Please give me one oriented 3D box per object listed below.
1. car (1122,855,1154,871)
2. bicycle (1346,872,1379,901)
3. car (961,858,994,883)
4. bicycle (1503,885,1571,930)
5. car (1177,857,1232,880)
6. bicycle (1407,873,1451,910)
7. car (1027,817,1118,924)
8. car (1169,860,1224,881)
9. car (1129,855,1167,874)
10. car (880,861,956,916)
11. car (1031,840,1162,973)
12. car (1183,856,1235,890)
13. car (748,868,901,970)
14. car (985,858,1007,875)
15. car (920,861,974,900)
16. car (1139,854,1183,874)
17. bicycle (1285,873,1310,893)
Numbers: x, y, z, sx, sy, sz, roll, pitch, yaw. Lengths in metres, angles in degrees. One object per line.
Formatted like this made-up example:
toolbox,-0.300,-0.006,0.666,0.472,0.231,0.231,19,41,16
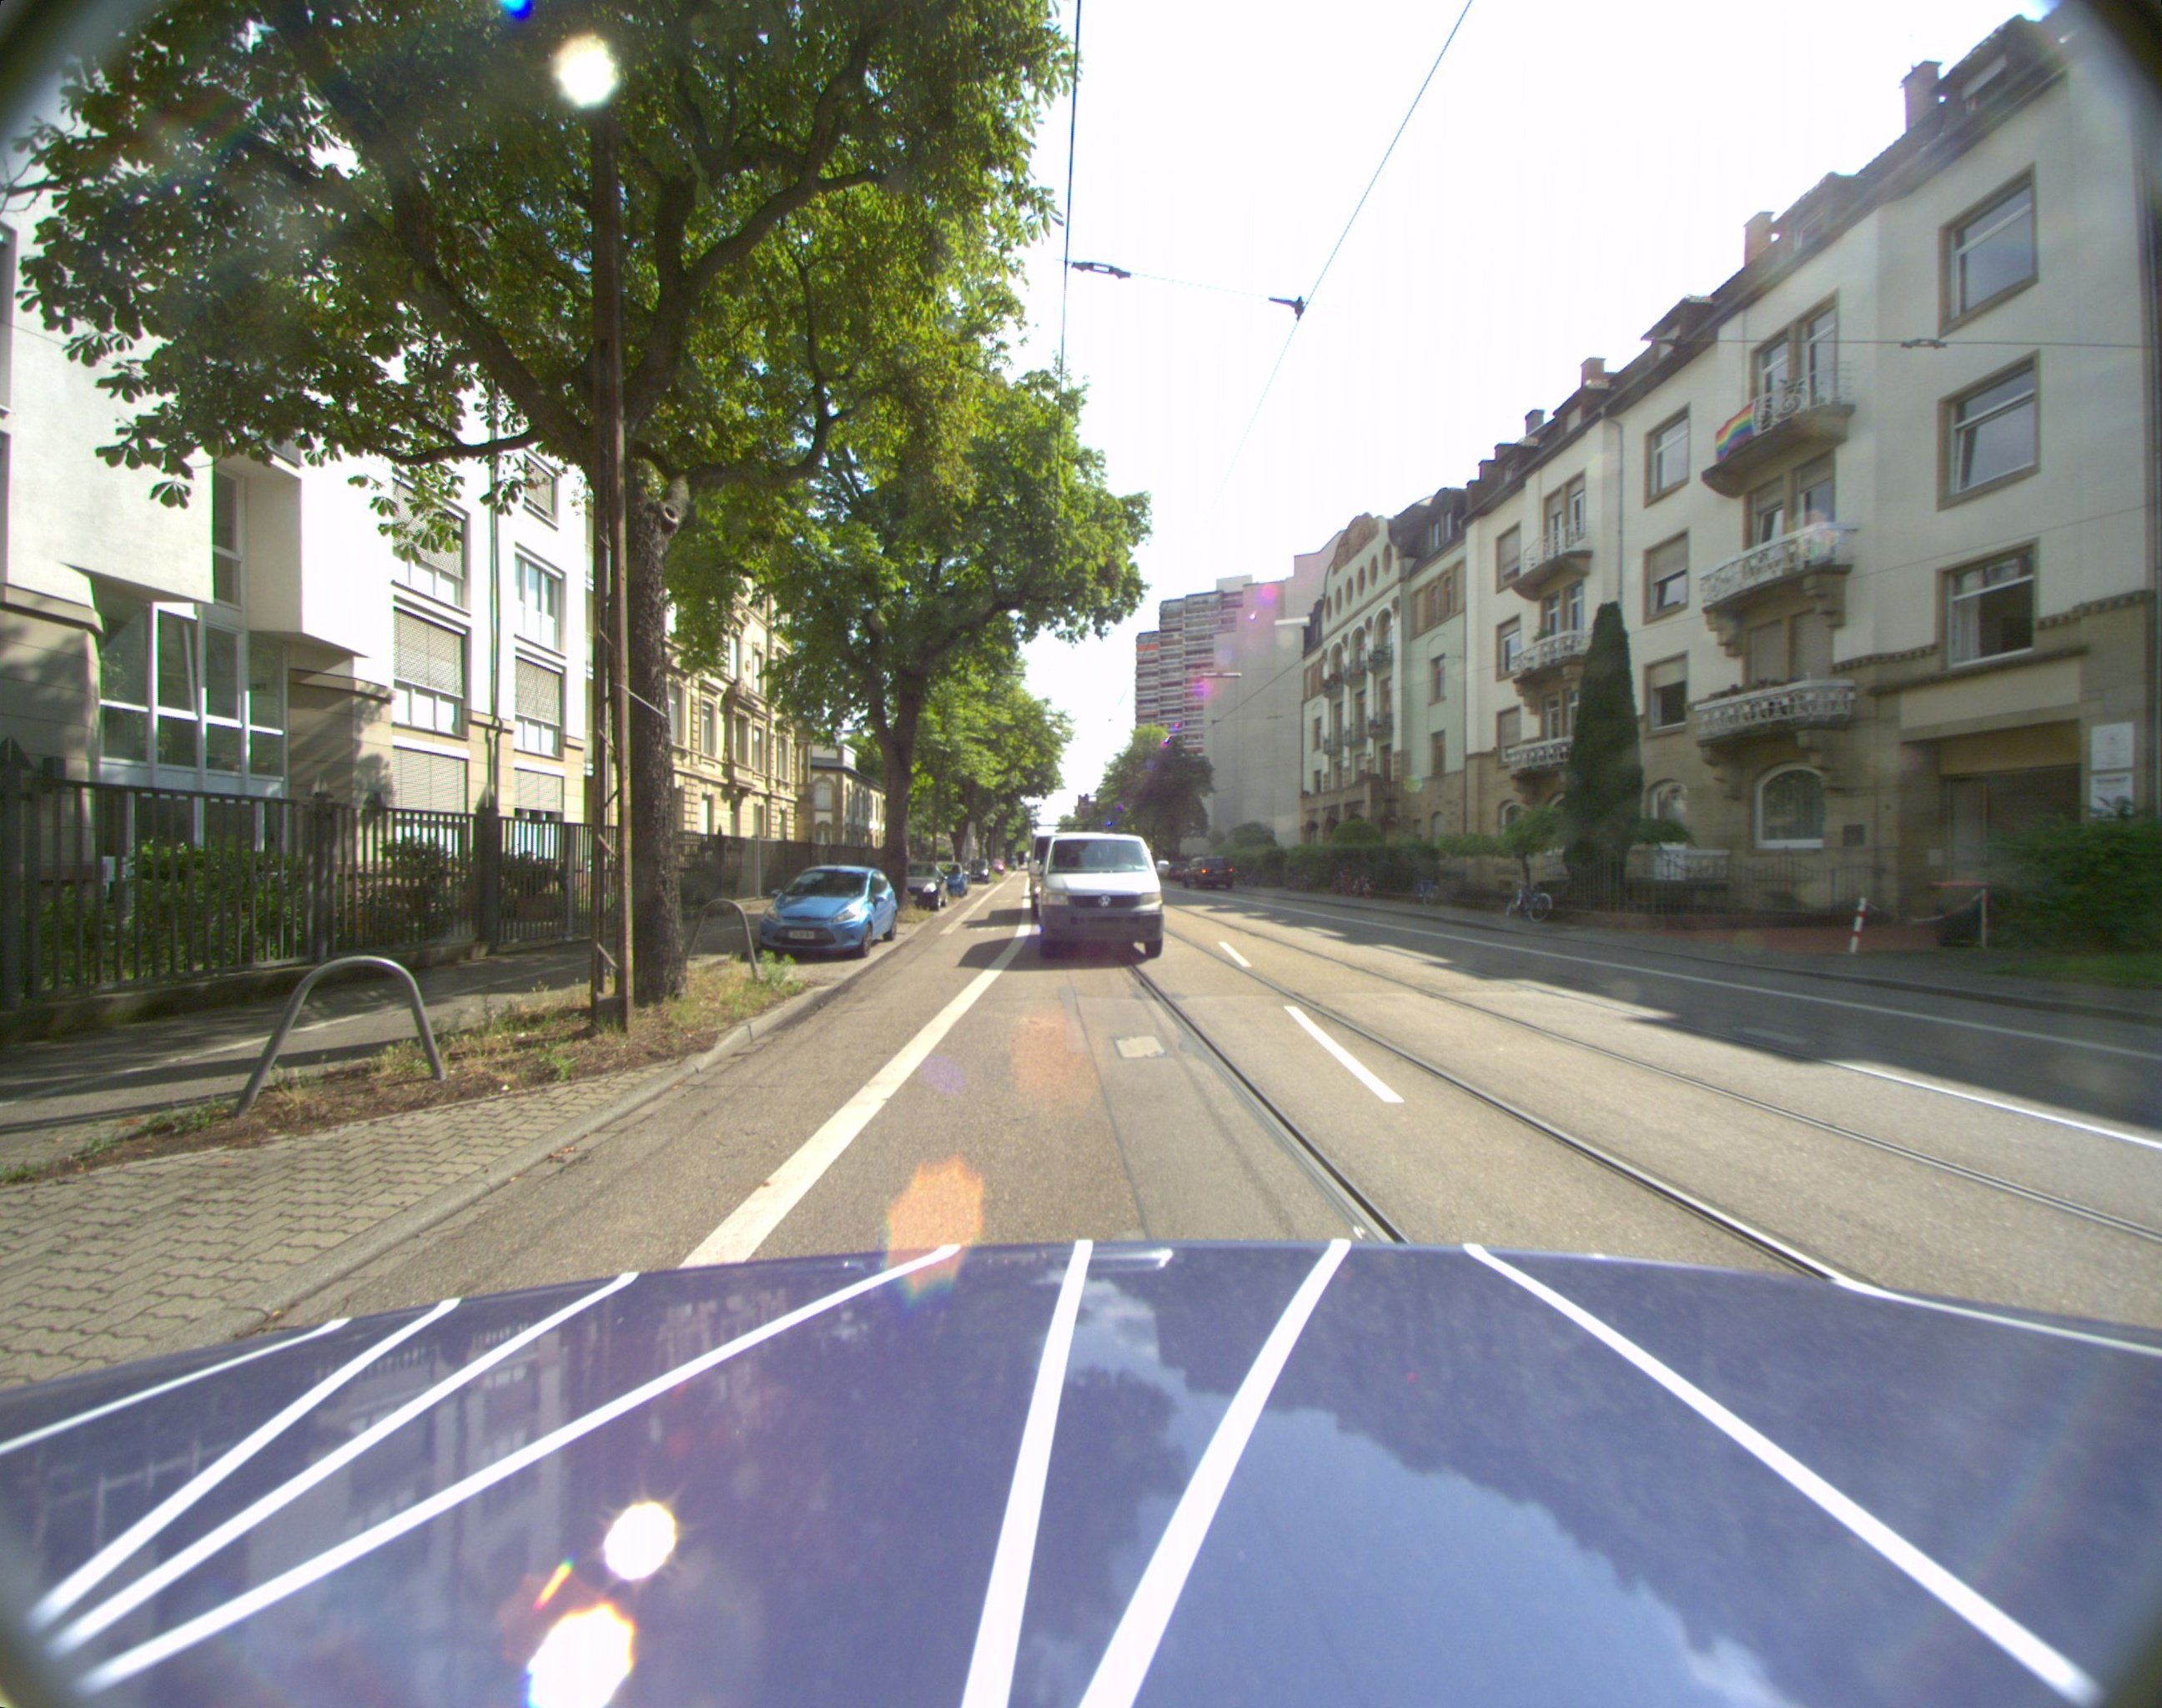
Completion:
car,6.472,1.020,86.309,3.542,1.733,1.635,0,0,-1
bicycle,10.471,1.191,28.320,0.587,0.980,1.873,0,1,1
car,-6.884,1.080,50.700,1.774,1.522,4.199,2,0,-3
bicycle,11.062,1.270,18.520,0.524,0.901,2.067,0,2,4
car,8.777,1.035,54.183,3.631,1.630,1.610,0,0,-3
bicycle,10.890,1.158,23.833,0.539,1.024,1.873,0,1,1
car,-0.404,0.396,21.281,2.168,2.572,5.661,0,0,-4
car,8.642,1.207,57.109,3.890,1.527,1.634,0,0,-2
car,6.754,1.053,76.576,3.663,1.832,1.735,0,0,-3
car,-5.001,1.007,23.727,1.644,1.499,3.622,2,0,-2
car,0.267,0.748,13.170,1.831,1.855,4.846,-1,0,1
car,6.837,0.978,41.130,1.797,1.701,4.330,0,0,-4
car,-4.344,1.036,13.443,1.642,1.446,3.697,2,0,-4
car,-8.170,1.205,73.530,1.774,1.563,4.199,2,0,-3
car,-5.538,1.046,31.837,1.724,1.443,3.925,2,0,-3
car,7.687,0.970,73.332,3.997,1.914,1.831,0,0,-1
bicycle,9.824,1.313,34.540,0.587,0.792,1.873,-2,1,1
